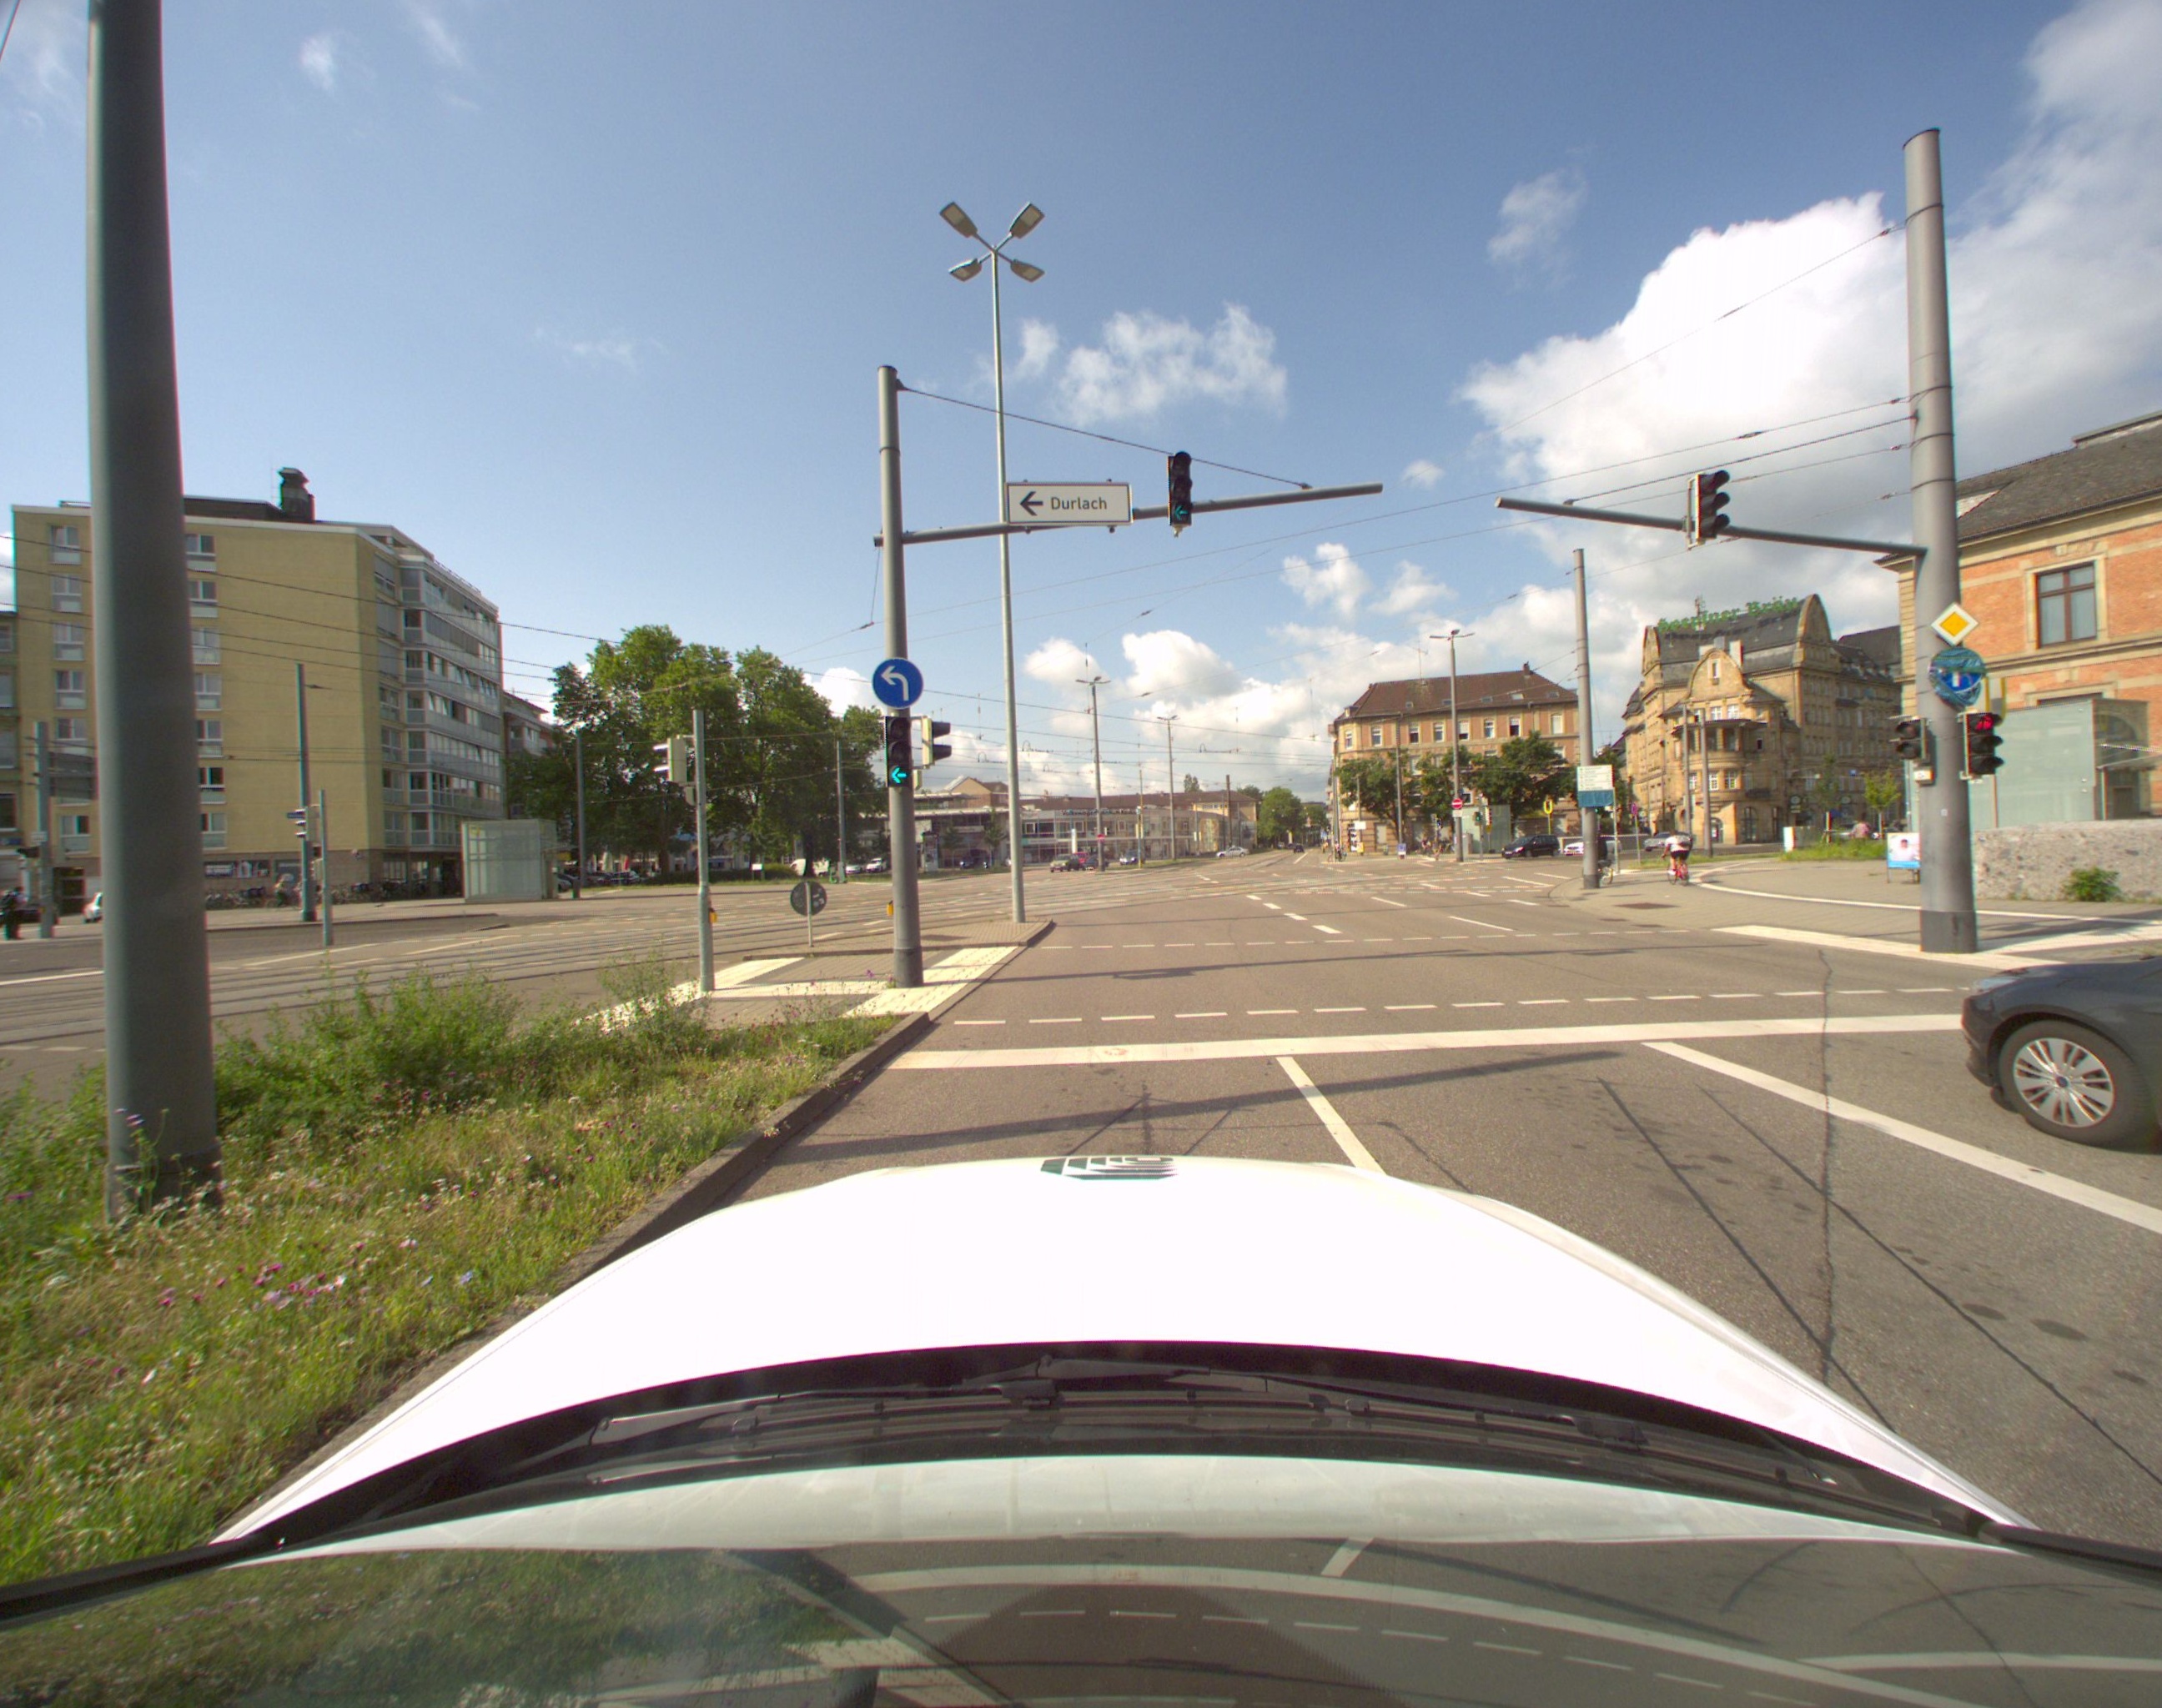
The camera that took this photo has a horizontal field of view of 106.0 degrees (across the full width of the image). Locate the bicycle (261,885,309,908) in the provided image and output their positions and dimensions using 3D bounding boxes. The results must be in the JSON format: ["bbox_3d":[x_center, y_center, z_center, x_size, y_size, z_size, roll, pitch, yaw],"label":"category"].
[{"bbox_3d":[-46.443,2.484,47.535,1.892,1.272,0.484,4,0,-24],"label":"bicycle"}]

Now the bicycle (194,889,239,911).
[{"bbox_3d":[-49.478,2.619,46.622,1.642,1.202,0.546,3,-5,-15],"label":"bicycle"}]

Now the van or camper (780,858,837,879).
[{"bbox_3d":[-32.408,1.731,96.999,5.848,2.469,2.396,0,-1,5],"label":"van or camper"}]

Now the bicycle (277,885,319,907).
[{"bbox_3d":[-46.279,2.487,48.153,1.642,1.273,0.485,3,-5,-15],"label":"bicycle"}]

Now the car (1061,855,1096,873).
[{"bbox_3d":[-0.181,0.843,71.887,1.978,1.519,4.018,-1,-1,18],"label":"car"}]

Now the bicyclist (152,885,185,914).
[{"bbox_3d":[-49.263,2.444,43.970,0.833,1.497,0.785,-2,0,-17],"label":"bicyclist"}]

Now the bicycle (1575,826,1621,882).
[{"bbox_3d":[16.686,-0.001,26.344,0.996,1.725,2.483,-1,-1,27],"label":"bicycle"}]

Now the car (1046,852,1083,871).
[{"bbox_3d":[-1.289,0.583,66.148,1.806,1.513,4.018,-1,-1,18],"label":"car"}]

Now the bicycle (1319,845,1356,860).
[{"bbox_3d":[20.898,-0.115,66.366,2.664,1.170,0.900,-2,0,-1],"label":"bicycle"}]

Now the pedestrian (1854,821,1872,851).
[{"bbox_3d":[39.810,-0.928,41.467,0.501,1.505,0.501,-2,0,-33],"label":"pedestrian"}]

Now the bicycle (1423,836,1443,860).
[{"bbox_3d":[26.540,-0.469,61.365,0.727,1.777,1.636,-2,0,-2],"label":"bicycle"}]

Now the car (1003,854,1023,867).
[{"bbox_3d":[-8.672,0.818,104.616,1.911,1.552,4.004,-2,0,3],"label":"car"}]

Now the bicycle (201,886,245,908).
[{"bbox_3d":[-49.688,2.512,47.149,1.642,1.202,0.485,3,-5,-15],"label":"bicycle"}]

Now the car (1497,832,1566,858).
[{"bbox_3d":[30.981,-0.578,55.982,4.348,1.739,1.983,0,-1,-26],"label":"car"}]

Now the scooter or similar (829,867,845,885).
[{"bbox_3d":[-16.723,1.507,55.768,0.934,1.157,0.377,3,1,-42],"label":"scooter or similar"}]

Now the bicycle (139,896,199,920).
[{"bbox_3d":[-49.220,2.917,43.964,1.990,1.127,0.785,-2,0,-17],"label":"bicycle"}]

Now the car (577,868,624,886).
[{"bbox_3d":[-47.055,2.227,79.785,3.611,1.594,1.659,-2,0,-13],"label":"car"}]

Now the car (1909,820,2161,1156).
[{"bbox_3d":[5.766,0.606,2.711,1.761,1.528,4.256,0,0,1],"label":"car"}]

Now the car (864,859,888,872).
[{"bbox_3d":[-26.187,1.458,104.128,2.062,1.604,3.997,-2,0,-2],"label":"car"}]

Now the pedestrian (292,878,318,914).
[{"bbox_3d":[-38.897,2.096,40.841,0.789,1.760,0.984,1,-3,-38],"label":"pedestrian"}]

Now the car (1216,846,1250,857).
[{"bbox_3d":[20.577,-0.338,110.044,4.442,1.464,1.786,0,-1,8],"label":"car"}]

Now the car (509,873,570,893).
[{"bbox_3d":[-43.237,2.304,65.132,3.570,1.530,1.989,0,-1,-16],"label":"car"}]

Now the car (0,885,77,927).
[{"bbox_3d":[-49.299,2.406,38.402,5.000,1.468,1.903,4,0,33],"label":"car"}]

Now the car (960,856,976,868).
[{"bbox_3d":[-14.341,1.010,103.266,1.918,1.445,3.989,-2,0,-8],"label":"car"}]

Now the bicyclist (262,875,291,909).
[{"bbox_3d":[-43.712,2.063,44.253,0.827,1.745,0.708,-2,0,-15],"label":"bicyclist"}]

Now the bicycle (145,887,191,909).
[{"bbox_3d":[-51.673,2.508,46.091,1.642,1.202,0.485,3,-5,-15],"label":"bicycle"}]

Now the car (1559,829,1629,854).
[{"bbox_3d":[36.915,-0.882,58.585,4.693,1.595,1.983,-3,0,-25],"label":"car"}]

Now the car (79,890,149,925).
[{"bbox_3d":[-46.731,2.541,39.344,3.467,1.440,1.730,2,-1,34],"label":"car"}]

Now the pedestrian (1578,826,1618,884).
[{"bbox_3d":[16.695,0.037,26.311,0.983,1.841,1.002,-1,-1,27],"label":"pedestrian"}]

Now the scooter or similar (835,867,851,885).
[{"bbox_3d":[-16.214,1.500,55.476,0.377,1.157,0.935,4,1,36],"label":"scooter or similar"}]

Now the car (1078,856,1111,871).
[{"bbox_3d":[1.115,0.785,65.876,1.608,1.161,4.018,-1,-1,18],"label":"car"}]

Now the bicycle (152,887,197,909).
[{"bbox_3d":[-51.846,2.501,46.594,1.642,1.202,0.485,3,-5,-15],"label":"bicycle"}]

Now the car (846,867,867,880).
[{"bbox_3d":[-28.713,2.507,104.412,1.991,1.574,3.991,0,-1,-6],"label":"car"}]

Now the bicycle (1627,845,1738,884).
[{"bbox_3d":[17.384,0.340,23.677,0.989,1.028,3.109,1,-2,1],"label":"bicycle"}]

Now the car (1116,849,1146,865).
[{"bbox_3d":[5.352,0.272,86.661,1.976,1.552,4.021,-2,0,21],"label":"car"}]

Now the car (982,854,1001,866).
[{"bbox_3d":[-11.279,0.707,102.649,1.913,1.445,3.999,-2,0,0],"label":"car"}]

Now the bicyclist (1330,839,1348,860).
[{"bbox_3d":[21.009,-0.344,66.308,1.190,1.658,0.785,-2,0,-1],"label":"bicyclist"}]

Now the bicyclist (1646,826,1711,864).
[{"bbox_3d":[17.384,-0.254,23.736,0.987,1.028,1.215,1,-3,1],"label":"bicyclist"}]

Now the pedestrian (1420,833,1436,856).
[{"bbox_3d":[28.272,-0.784,66.309,0.865,1.810,0.884,0,-1,-10],"label":"pedestrian"}]

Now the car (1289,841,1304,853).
[{"bbox_3d":[35.901,-1.179,135.416,1.977,2.013,4.020,-2,0,20],"label":"car"}]

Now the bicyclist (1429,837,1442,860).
[{"bbox_3d":[26.546,-0.395,60.969,0.571,1.671,0.656,-2,0,-2],"label":"bicyclist"}]

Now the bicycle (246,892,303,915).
[{"bbox_3d":[-43.754,2.680,44.201,1.990,1.127,0.785,-2,0,-17],"label":"bicycle"}]

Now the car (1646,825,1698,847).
[{"bbox_3d":[49.207,-1.493,67.811,4.006,1.600,1.741,-2,0,-24],"label":"car"}]

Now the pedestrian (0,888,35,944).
[{"bbox_3d":[-34.396,1.986,26.038,0.794,1.673,0.840,3,1,-17],"label":"pedestrian"}]

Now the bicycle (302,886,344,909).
[{"bbox_3d":[-44.766,2.566,48.097,1.642,1.273,0.528,3,-5,-15],"label":"bicycle"}]

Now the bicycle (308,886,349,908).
[{"bbox_3d":[-44.897,2.571,48.618,1.642,1.273,0.485,3,-5,-15],"label":"bicycle"}]
